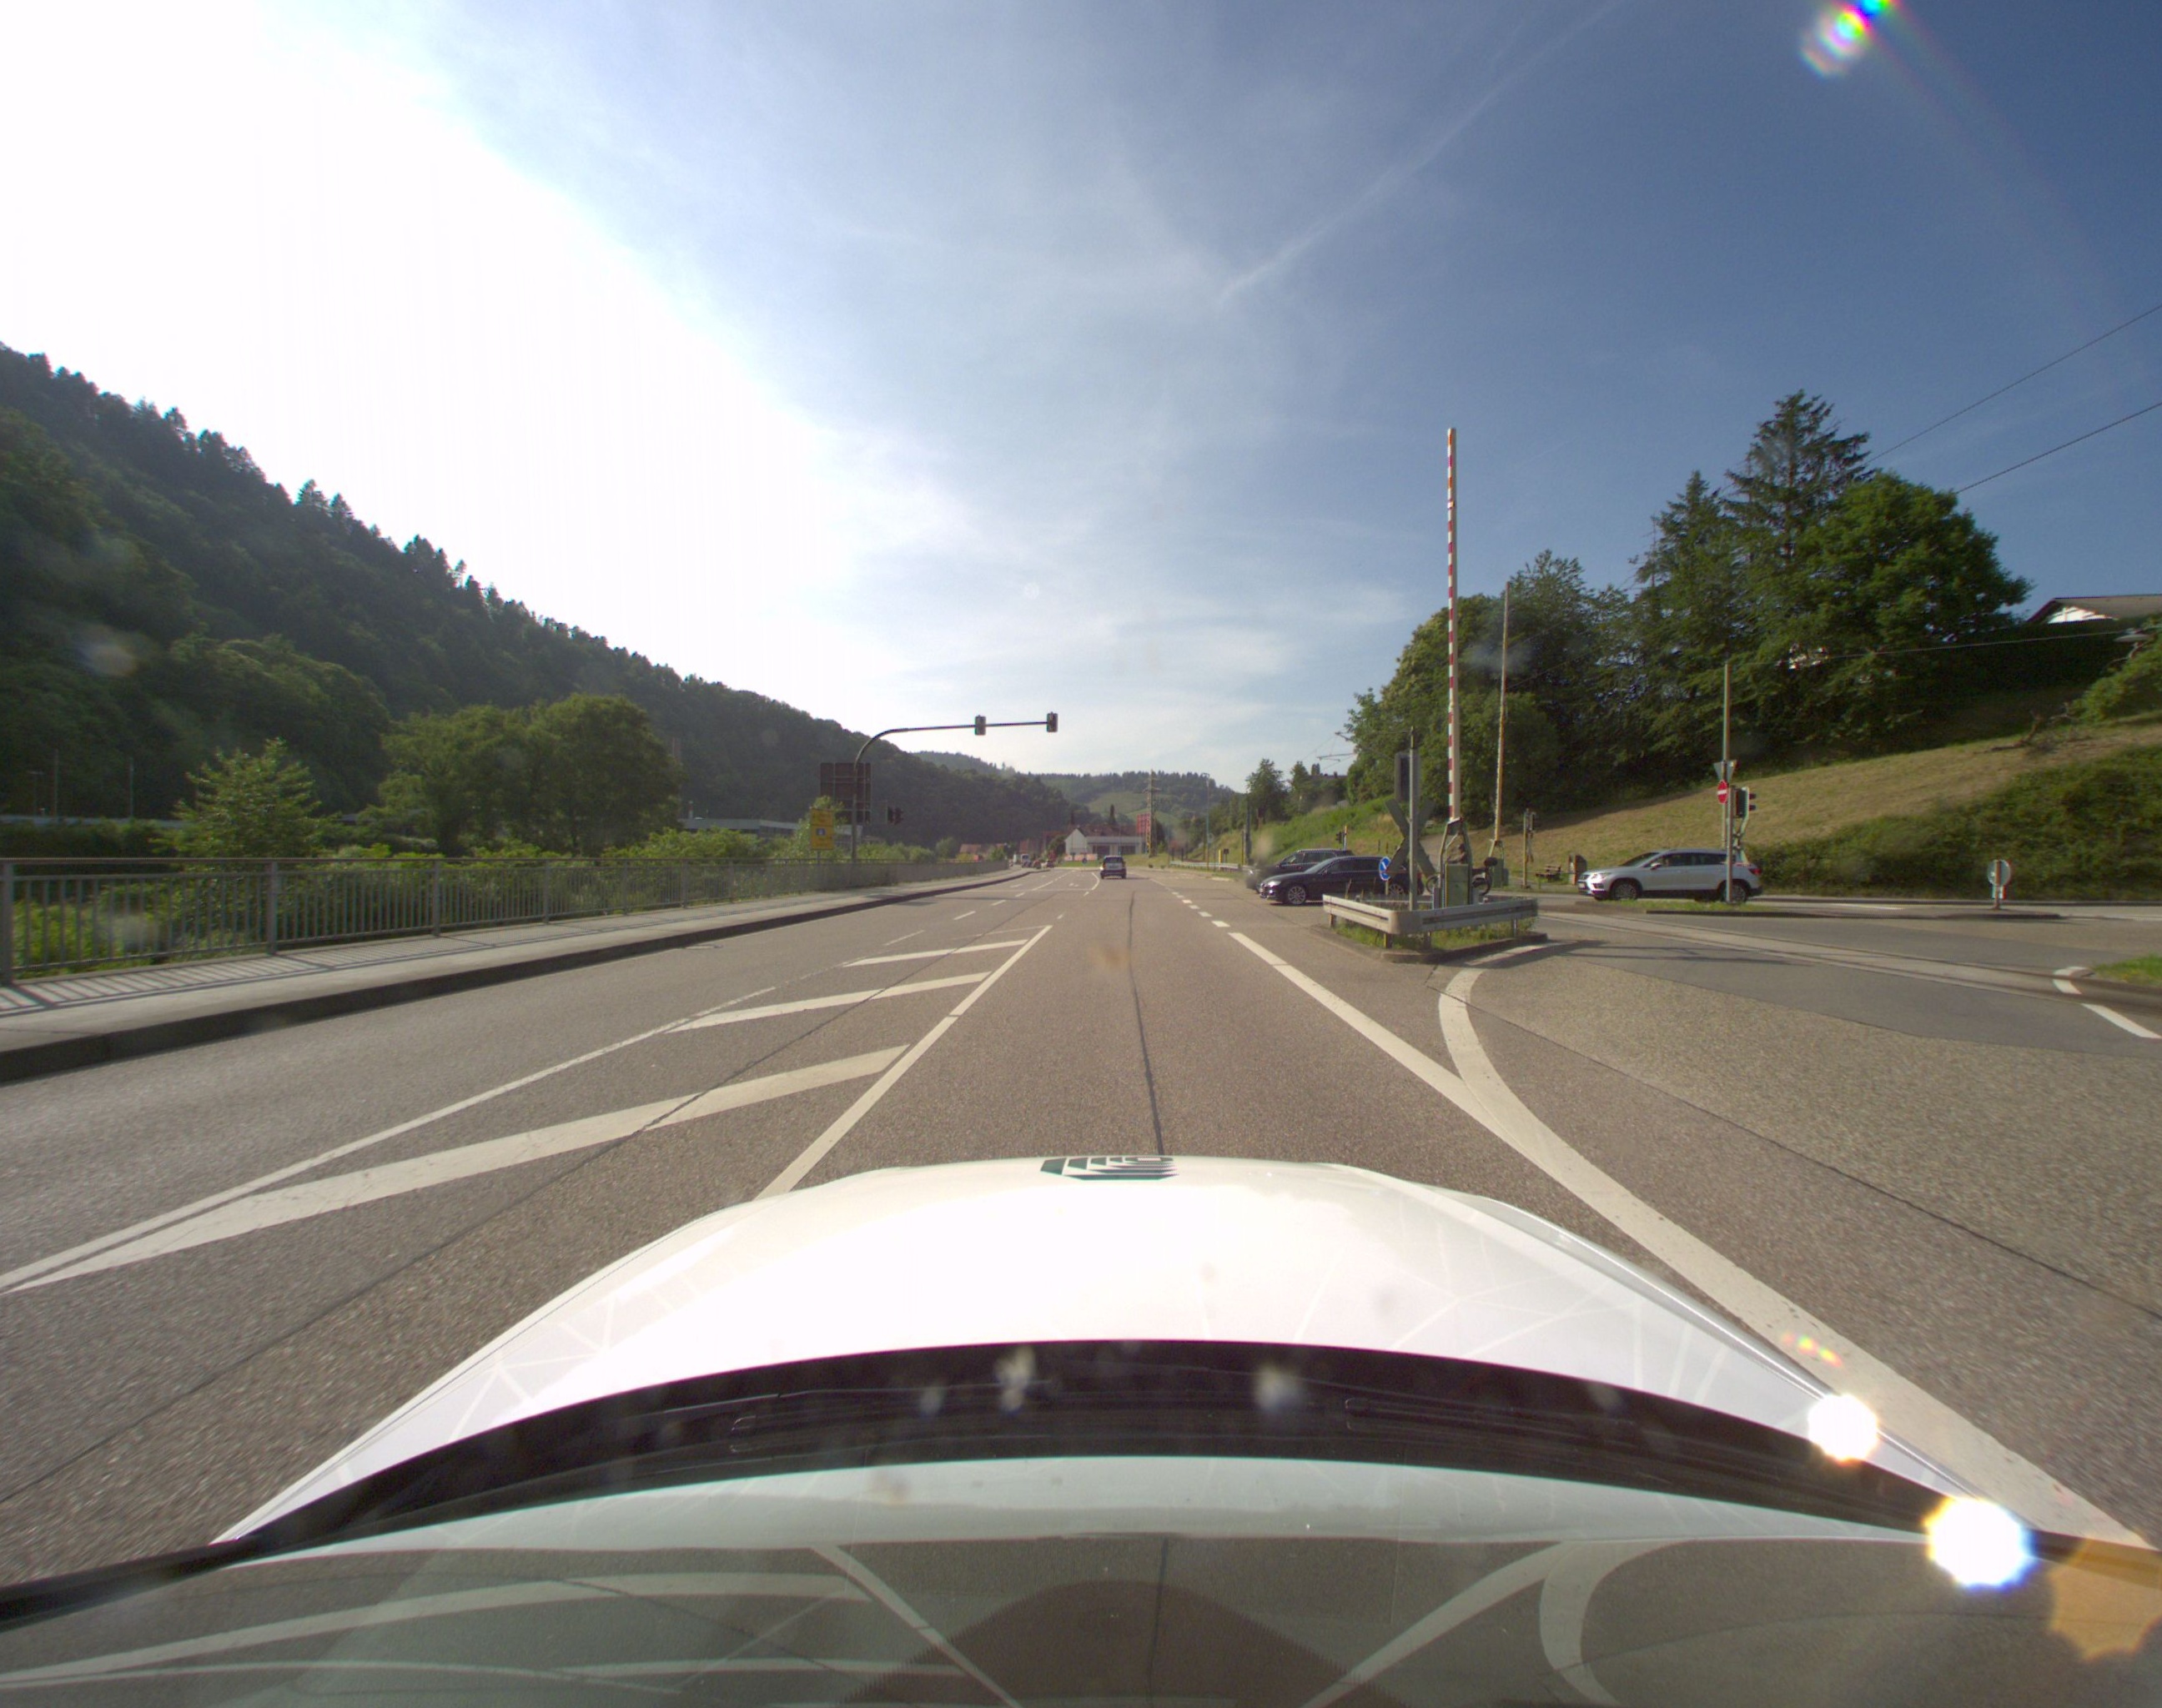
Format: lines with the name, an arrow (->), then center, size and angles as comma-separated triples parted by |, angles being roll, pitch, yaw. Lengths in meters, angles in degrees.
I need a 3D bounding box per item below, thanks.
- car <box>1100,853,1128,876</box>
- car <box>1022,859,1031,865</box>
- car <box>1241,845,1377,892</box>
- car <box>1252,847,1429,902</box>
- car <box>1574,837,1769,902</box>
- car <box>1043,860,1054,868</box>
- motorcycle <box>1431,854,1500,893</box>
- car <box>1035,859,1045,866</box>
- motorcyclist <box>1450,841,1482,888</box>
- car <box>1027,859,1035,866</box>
car -> 2.410, 0.783, 58.430 | 1.853, 1.544, 4.376 | 1, -1, 3
car -> -13.509, 2.005, 201.508 | 1.457, 1.435, 2.919 | 1, 0, -17
car -> 8.516, 0.550, 30.419 | 4.685, 1.659, 1.941 | -1, 0, 22
car -> 7.592, 0.592, 24.201 | 4.704, 1.470, 1.844 | -1, 0, 4
car -> 16.615, 0.405, 23.147 | 4.082, 1.686, 1.842 | 1, 0, 15
car -> -6.219, 1.902, 156.280 | 1.456, 1.435, 2.920 | 1, 0, -16
motorcycle -> 13.203, 0.648, 28.043 | 2.075, 1.254, 0.803 | 1, 0, 20
car -> -8.744, 1.712, 172.535 | 1.457, 1.435, 2.919 | 1, 0, -17
motorcyclist -> 13.241, 0.352, 28.030 | 0.899, 1.597, 0.769 | 1, 0, 19
car -> -11.390, 1.936, 185.756 | 1.236, 1.435, 2.625 | -2, 1, -17
